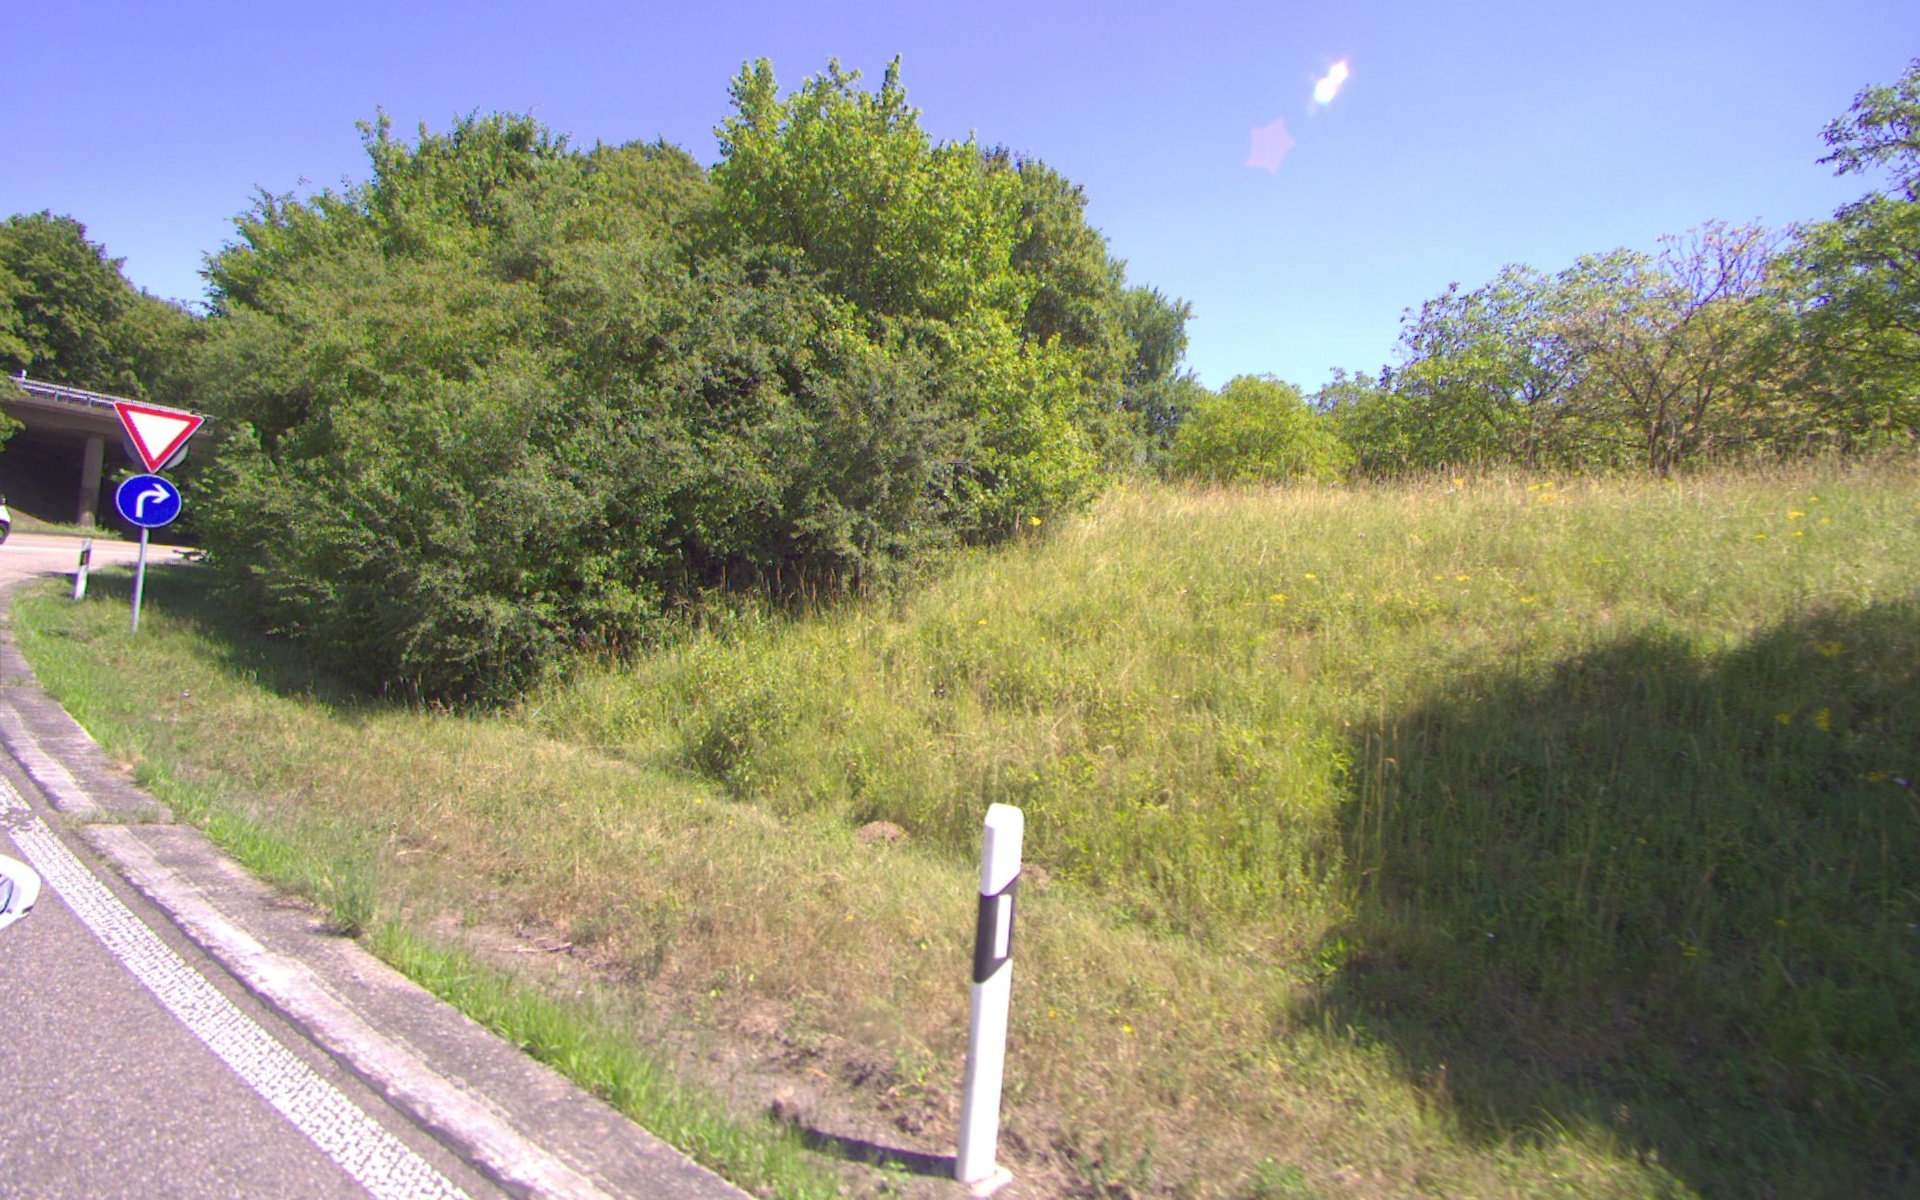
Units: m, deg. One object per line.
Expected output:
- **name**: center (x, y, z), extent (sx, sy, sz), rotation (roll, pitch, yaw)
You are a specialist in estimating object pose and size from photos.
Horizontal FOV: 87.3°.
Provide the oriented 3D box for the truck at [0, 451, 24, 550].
- **truck**: center (-30.571, -3.223, 29.199), extent (2.213, 3.021, 5.878), rotation (6, -1, -15)
